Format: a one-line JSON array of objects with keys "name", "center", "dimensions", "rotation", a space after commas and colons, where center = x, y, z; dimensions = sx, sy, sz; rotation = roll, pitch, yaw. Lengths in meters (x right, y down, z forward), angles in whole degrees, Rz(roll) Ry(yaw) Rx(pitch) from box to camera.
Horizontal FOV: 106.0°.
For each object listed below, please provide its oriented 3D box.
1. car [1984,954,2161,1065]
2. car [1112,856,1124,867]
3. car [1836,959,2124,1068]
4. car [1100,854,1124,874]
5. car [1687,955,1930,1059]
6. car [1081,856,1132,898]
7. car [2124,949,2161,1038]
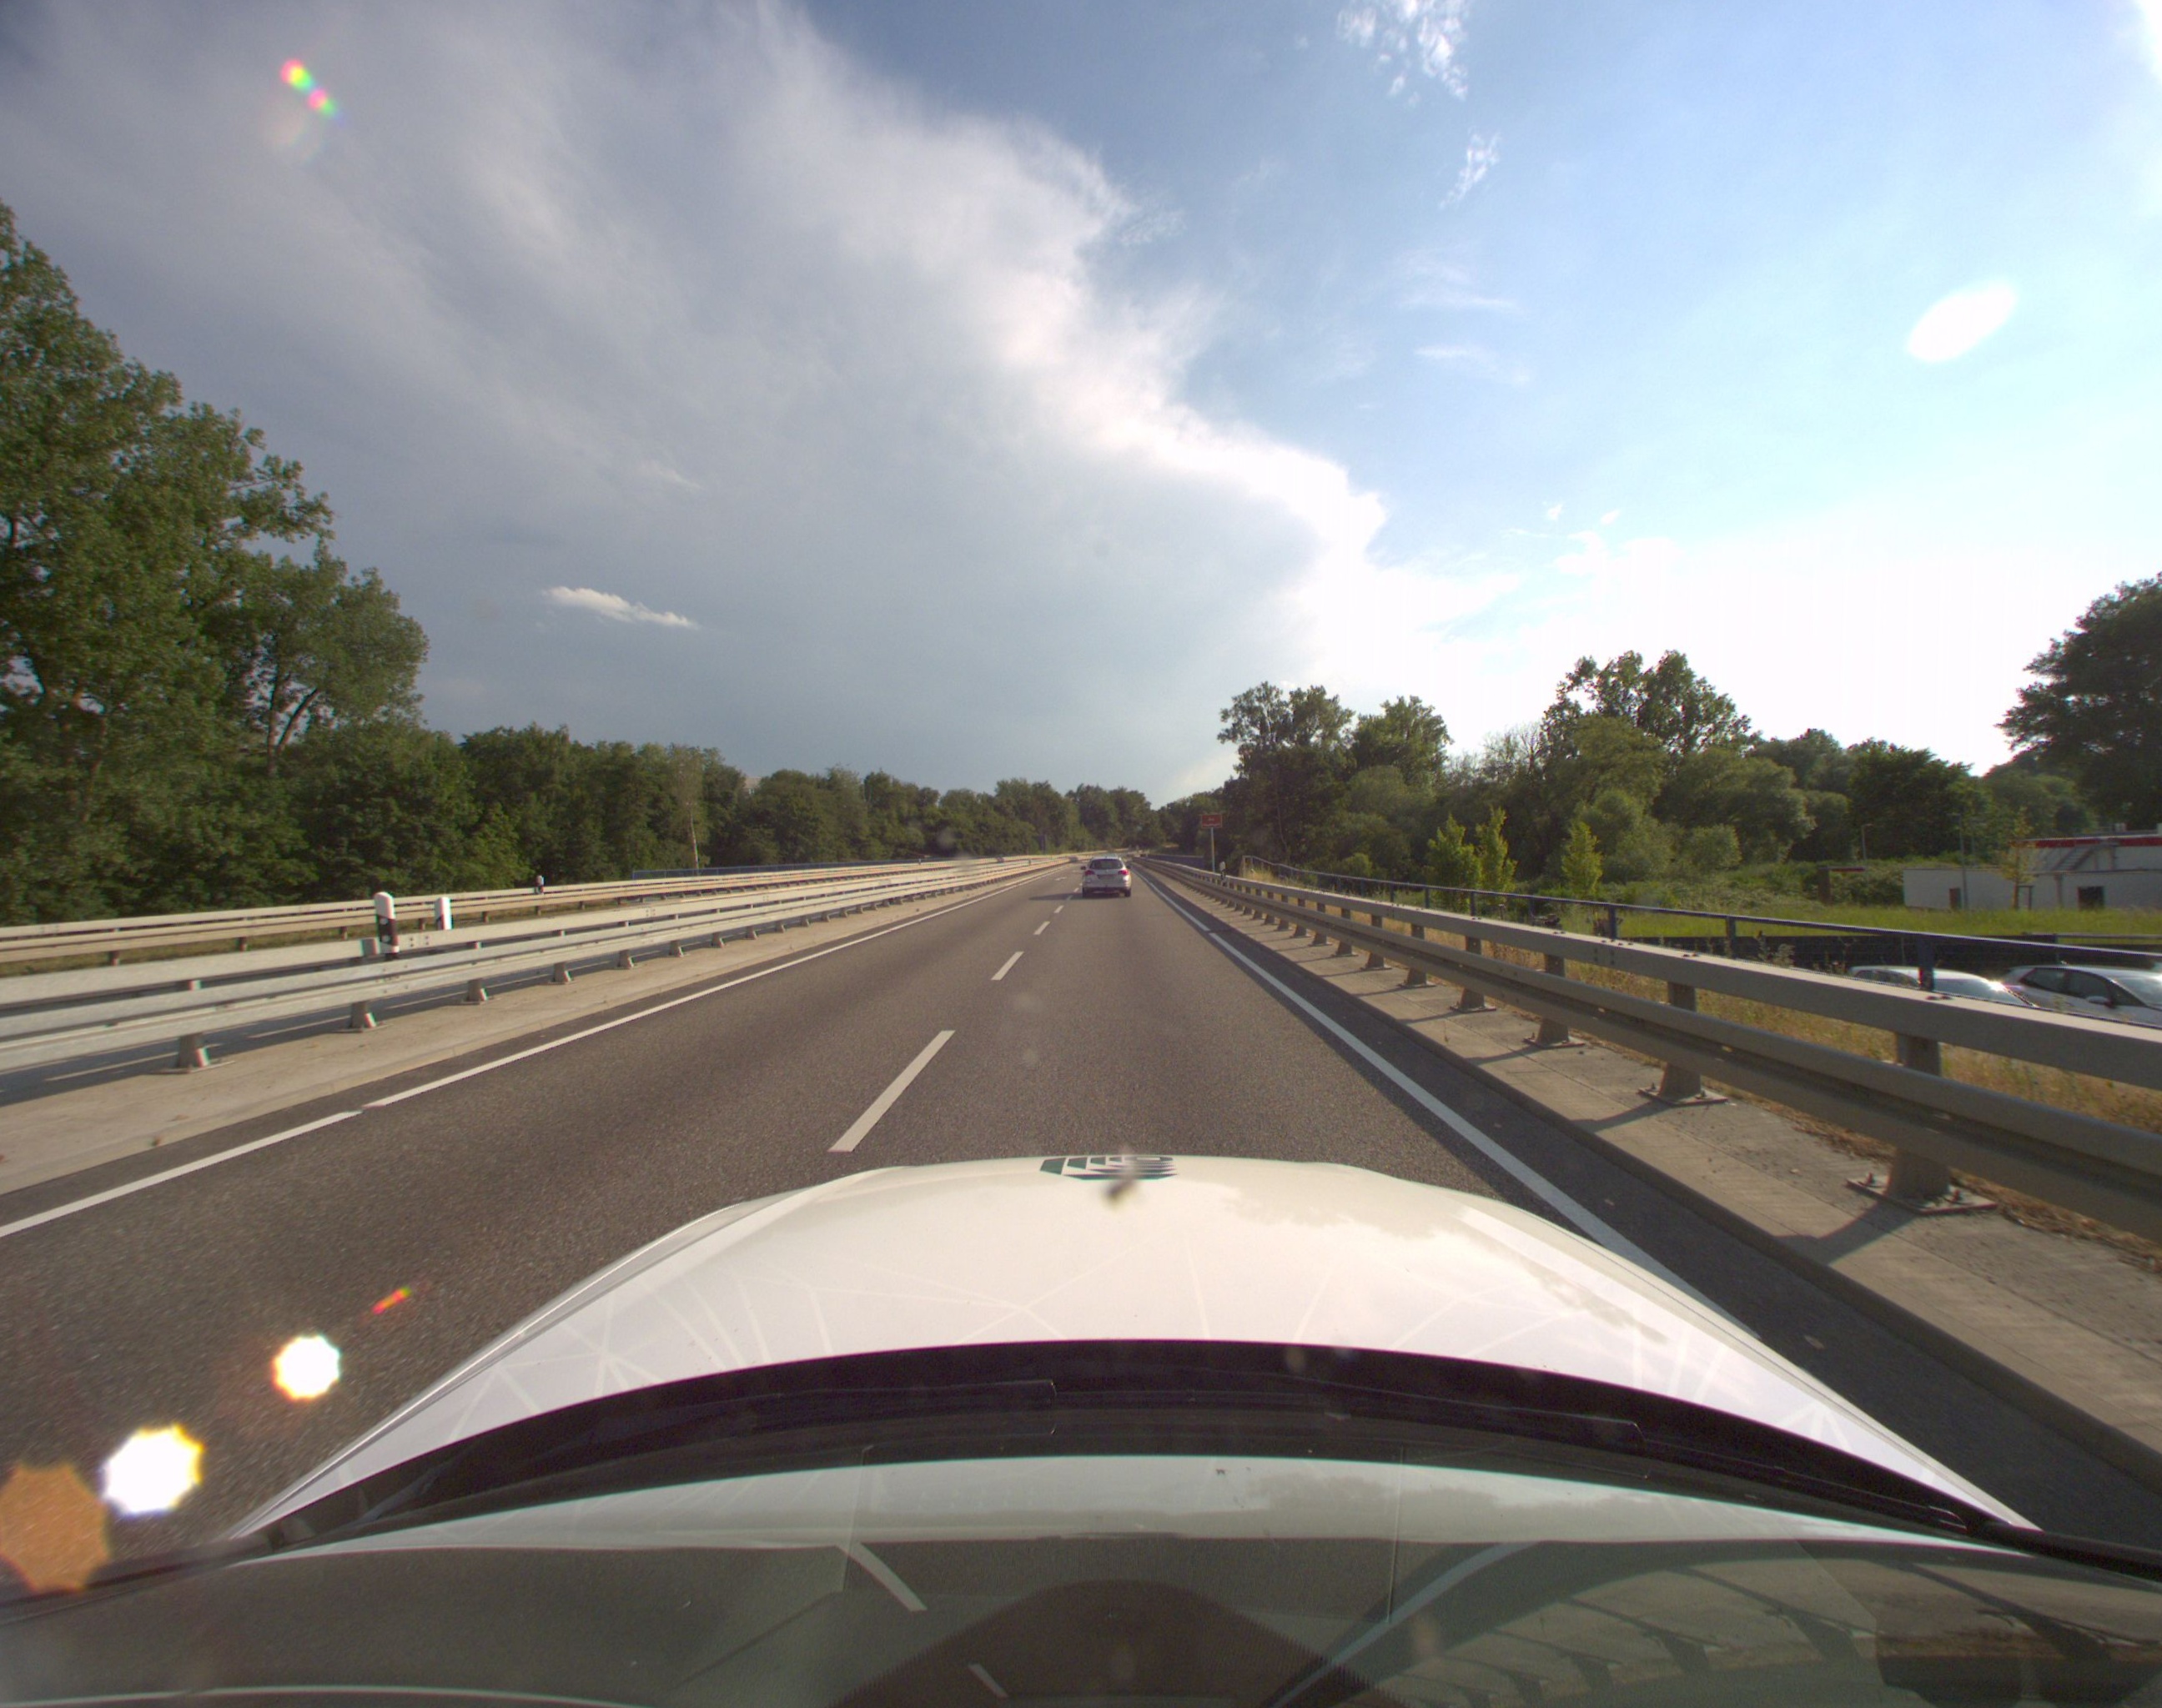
[{"name": "car", "center": [19.351, 2.798, 14.948], "dimensions": [1.804, 1.499, 4.015], "rotation": [-1, -1, 15]}, {"name": "car", "center": [7.132, 1.516, 157.884], "dimensions": [1.988, 2.014, 3.996], "rotation": [0, -1, -2]}, {"name": "car", "center": [16.912, 2.926, 15.673], "dimensions": [1.804, 1.354, 4.015], "rotation": [-1, -1, 15]}, {"name": "car", "center": [2.372, 0.829, 63.117], "dimensions": [1.802, 1.486, 4.001], "rotation": [0, -1, 1]}, {"name": "car", "center": [14.590, 3.000, 16.678], "dimensions": [1.697, 1.464, 4.007], "rotation": [-1, -1, 7]}, {"name": "car", "center": [0.957, 0.850, 30.789], "dimensions": [1.802, 1.486, 4.001], "rotation": [0, -1, 1]}, {"name": "car", "center": [21.438, 2.685, 14.096], "dimensions": [1.939, 1.642, 4.259], "rotation": [-1, -1, 14]}]
